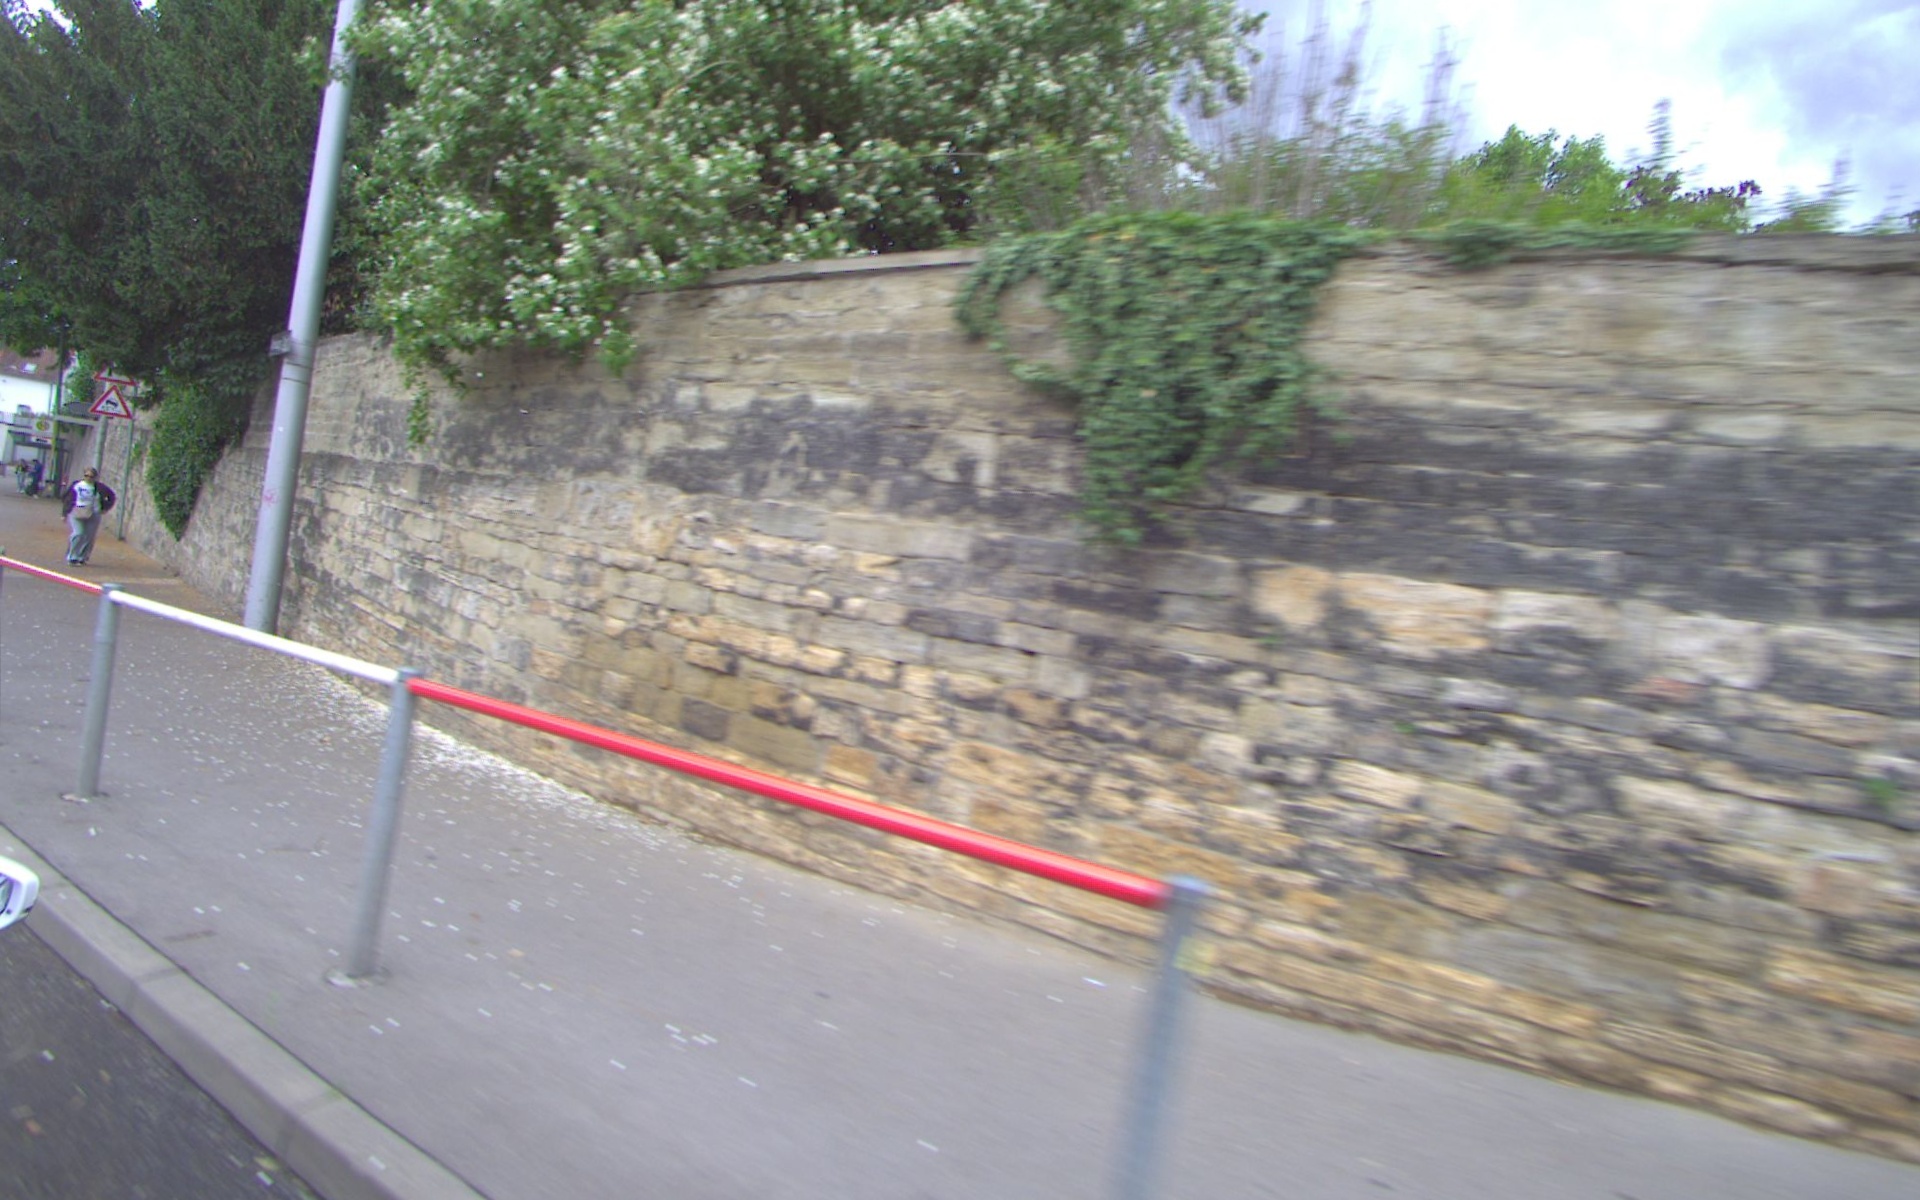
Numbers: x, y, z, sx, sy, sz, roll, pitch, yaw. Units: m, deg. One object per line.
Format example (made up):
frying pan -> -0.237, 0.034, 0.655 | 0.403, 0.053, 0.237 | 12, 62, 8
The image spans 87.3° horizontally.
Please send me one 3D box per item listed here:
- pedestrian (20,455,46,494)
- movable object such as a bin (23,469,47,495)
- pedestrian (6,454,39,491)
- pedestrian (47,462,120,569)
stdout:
pedestrian -> -42.899, -5.802, 46.575 | 0.622, 1.663, 0.720 | 9, 2, 41
movable object such as a bin -> -42.437, -5.420, 46.134 | 0.618, 1.033, 0.673 | 10, 3, 41
pedestrian -> -44.740, -6.089, 48.001 | 0.724, 1.609, 0.772 | 7, 3, -3
pedestrian -> -14.083, -1.351, 16.155 | 0.733, 1.597, 0.729 | 10, 4, 43
